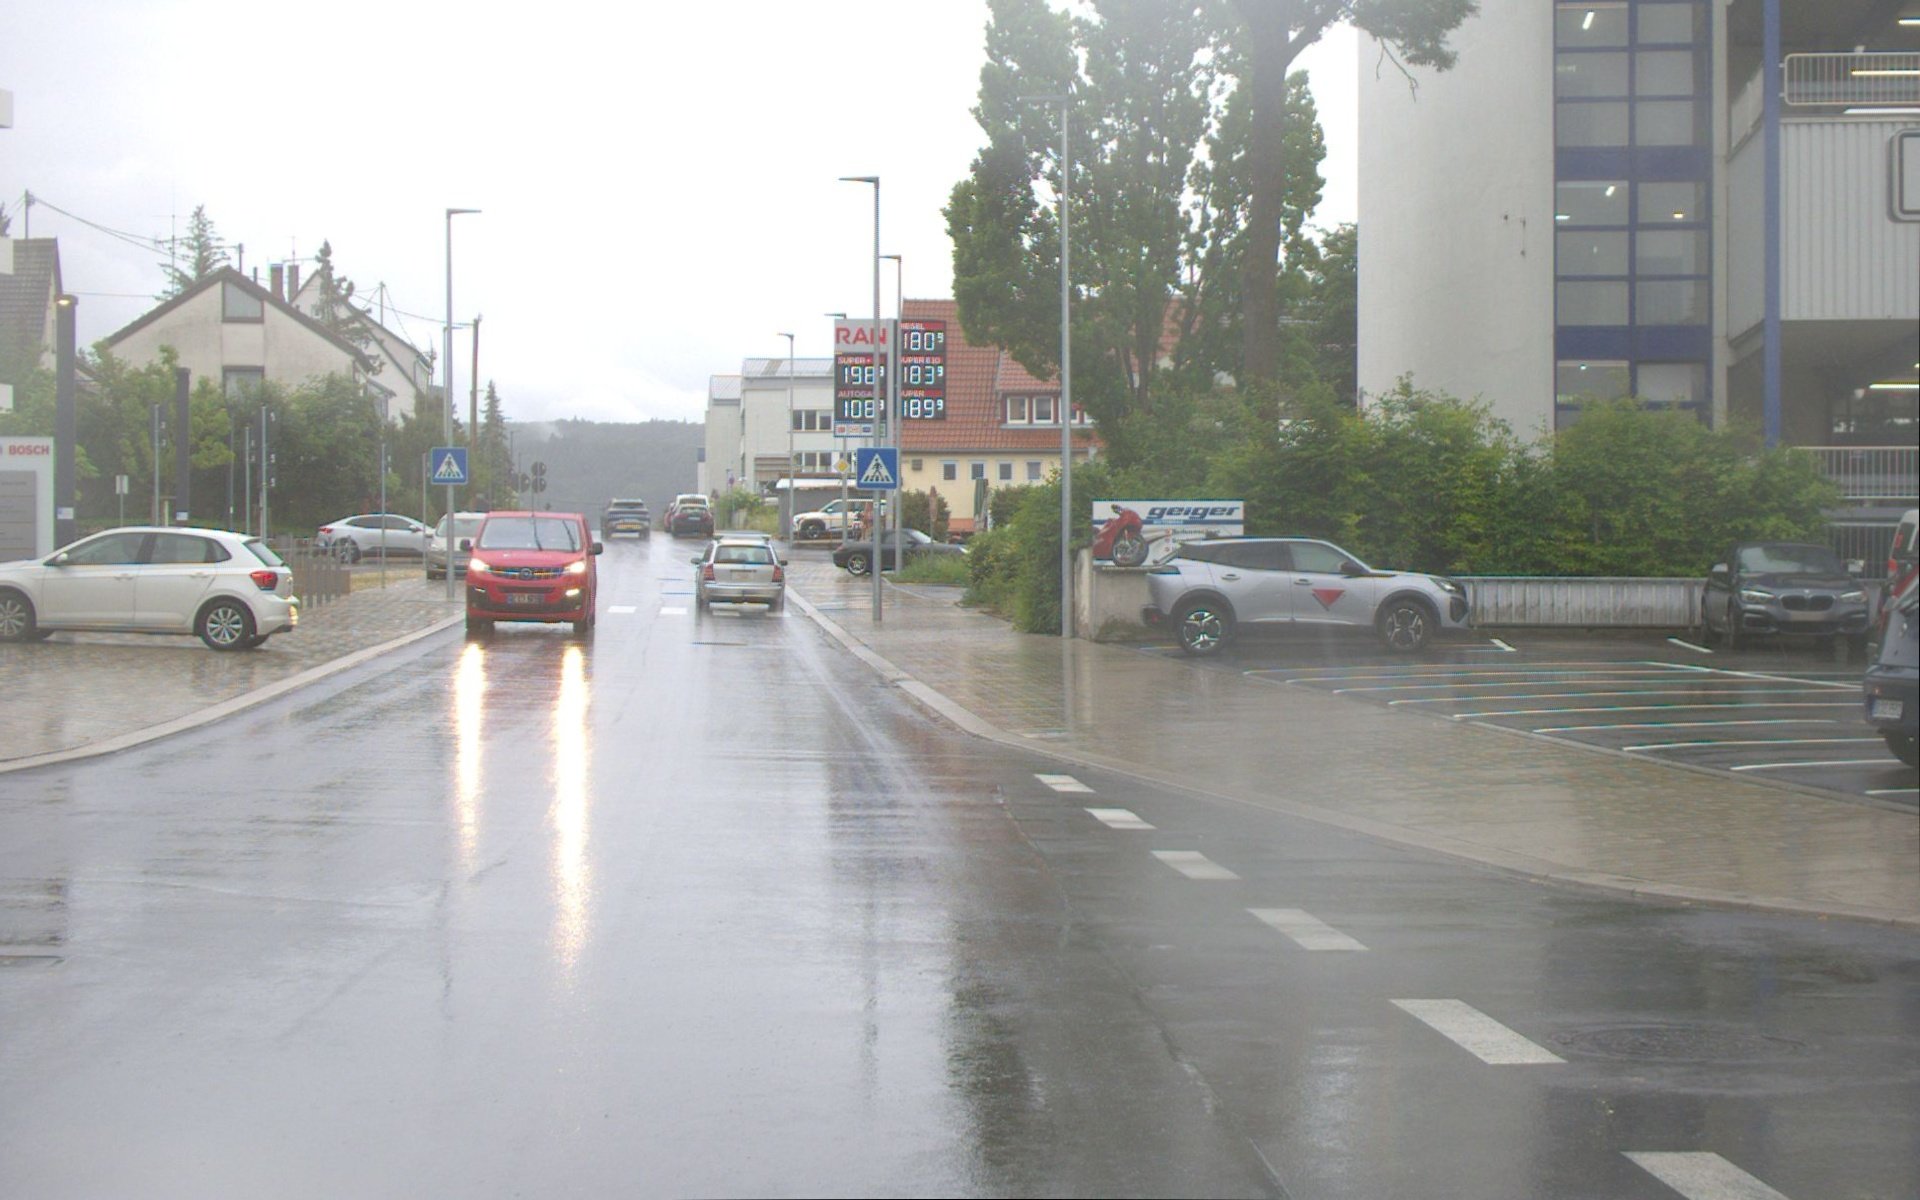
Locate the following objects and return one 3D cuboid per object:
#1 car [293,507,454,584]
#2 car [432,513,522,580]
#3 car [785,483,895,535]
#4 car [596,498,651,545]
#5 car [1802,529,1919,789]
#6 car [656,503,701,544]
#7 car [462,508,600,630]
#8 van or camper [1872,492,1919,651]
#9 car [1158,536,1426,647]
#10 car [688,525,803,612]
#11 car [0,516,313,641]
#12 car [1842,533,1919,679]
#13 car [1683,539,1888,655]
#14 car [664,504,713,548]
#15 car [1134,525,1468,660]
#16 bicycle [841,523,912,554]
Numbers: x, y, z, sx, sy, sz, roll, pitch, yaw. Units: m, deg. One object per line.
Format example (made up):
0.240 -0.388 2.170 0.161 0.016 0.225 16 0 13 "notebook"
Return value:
-18.409 -1.702 108.136 4.752 2.007 2.000 4 -1 -6 "car"
-12.065 -1.362 86.017 1.993 1.623 4.154 0 2 -5 "car"
-4.767 -3.589 136.234 4.111 1.700 1.789 4 -1 -7 "car"
-14.249 -3.309 145.718 2.154 1.700 4.000 4 -1 -5 "car"
7.274 0.322 21.137 3.725 1.523 1.650 -1 0 -4 "car"
-13.485 -3.671 164.558 1.993 1.700 4.000 4 -1 -5 "car"
-6.727 -0.515 54.359 2.002 1.811 4.980 1 1 -5 "car"
13.404 -0.385 45.691 1.838 2.029 4.460 1 1 7 "van or camper"
4.582 -0.127 47.608 3.621 1.489 1.806 0 1 5 "car"
-4.319 -0.612 68.847 1.948 1.550 4.001 4 -1 -7 "car"
-9.827 -0.275 41.023 3.927 1.418 1.898 1 1 -4 "car"
11.333 0.066 36.046 3.686 1.495 1.642 1 1 -4 "car"
10.875 -0.072 45.554 1.933 1.437 4.206 1 1 4 "car"
-11.984 -3.253 151.546 1.993 1.700 4.000 4 -1 -5 "car"
4.443 -0.107 44.942 4.208 1.644 2.000 -1 1 6 "car"
-3.168 -2.321 129.726 0.668 1.063 3.628 5 -1 -36 "bicycle"
